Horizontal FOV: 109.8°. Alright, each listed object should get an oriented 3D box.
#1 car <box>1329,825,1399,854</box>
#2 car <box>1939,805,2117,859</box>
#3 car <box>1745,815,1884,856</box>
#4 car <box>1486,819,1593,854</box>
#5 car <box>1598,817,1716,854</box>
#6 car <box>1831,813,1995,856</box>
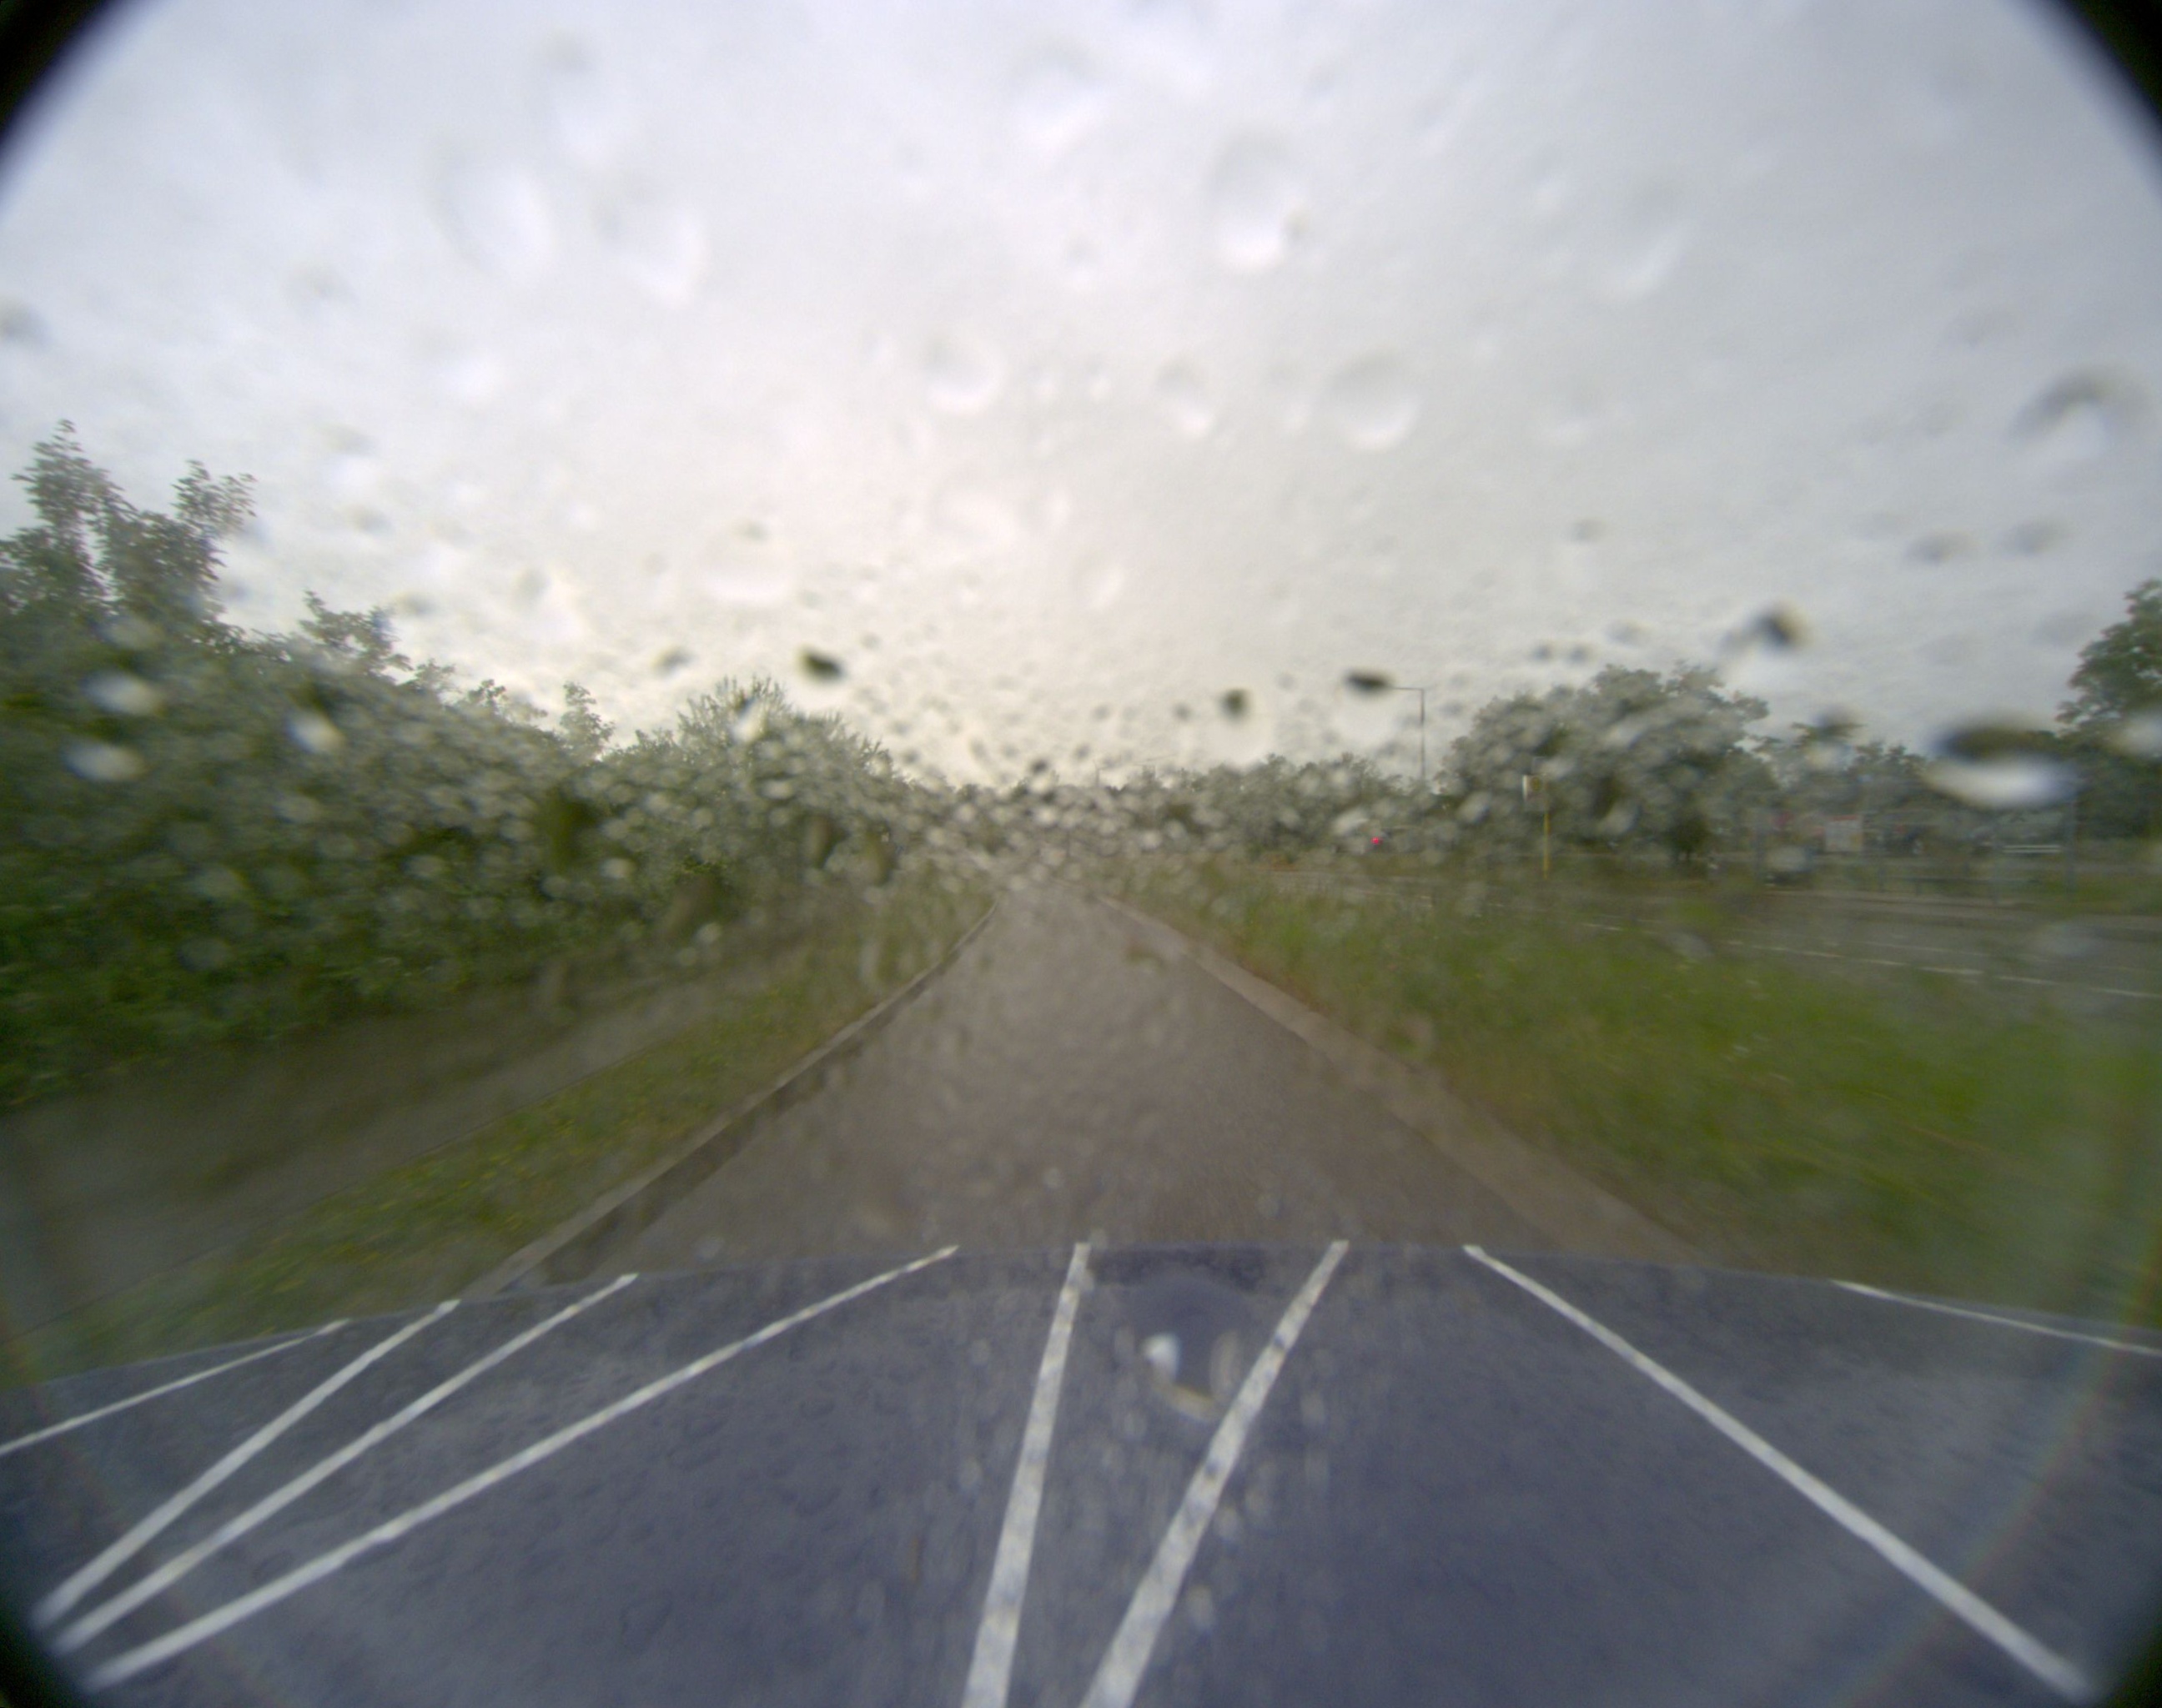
[{"bbox_3d":[17.215,-0.839,46.421,1.697,1.559,4.536,-4,0,-14],"label":"car"},{"bbox_3d":[28.379,-0.662,22.815,4.000,1.356,1.651,-3,1,-11],"label":"car"},{"bbox_3d":[27.540,-0.693,28.566,4.001,1.461,1.845,-1,1,-12],"label":"car"},{"bbox_3d":[23.848,-0.914,39.583,4.723,1.683,2.002,-2,1,-13],"label":"car"},{"bbox_3d":[25.185,-0.787,33.281,4.000,1.356,1.898,-4,1,-11],"label":"car"},{"bbox_3d":[27.526,-0.641,25.184,4.001,1.356,1.846,-1,1,-11],"label":"car"}]
